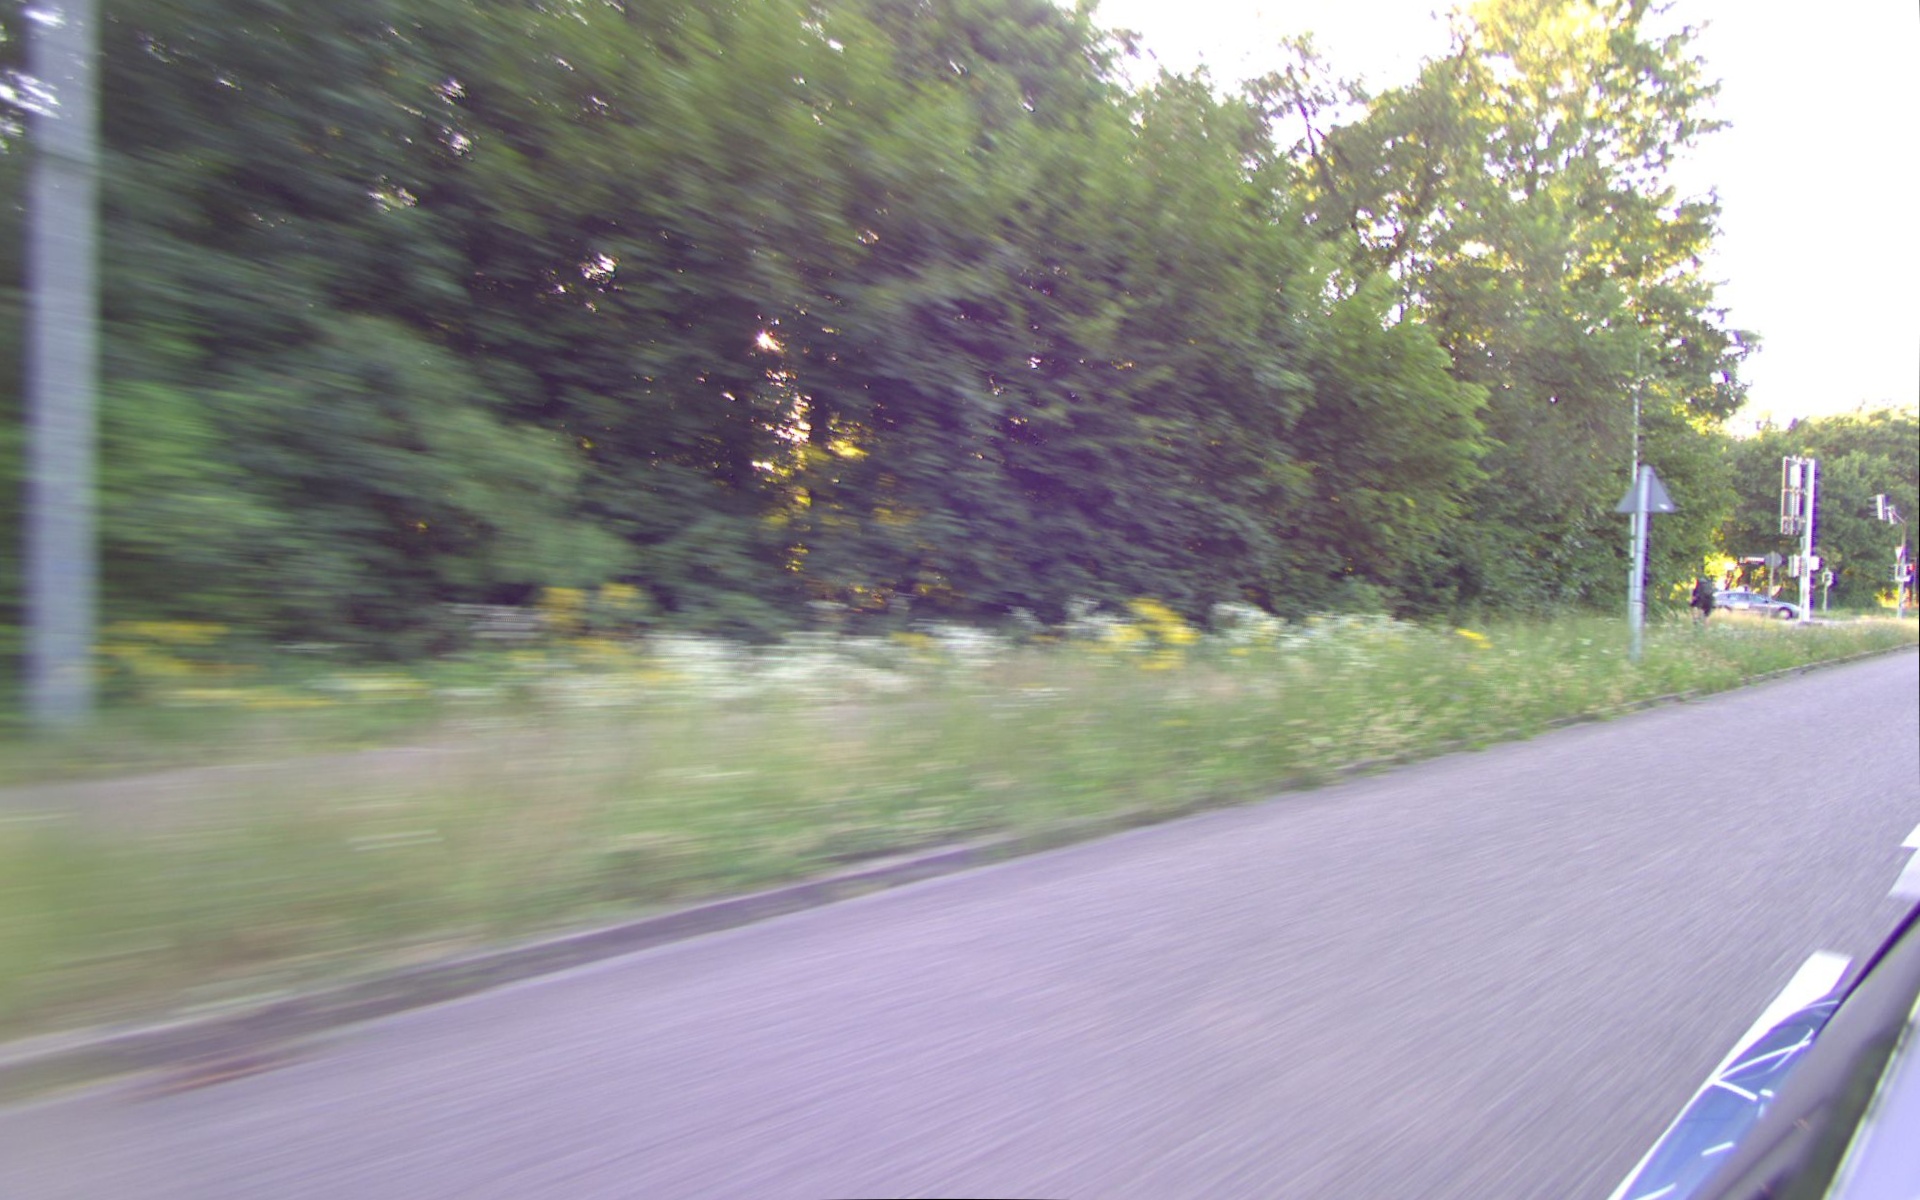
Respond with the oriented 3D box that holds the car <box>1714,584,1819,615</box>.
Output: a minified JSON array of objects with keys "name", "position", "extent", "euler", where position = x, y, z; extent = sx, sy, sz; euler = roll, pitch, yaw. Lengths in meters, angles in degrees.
[{"name":"car","position":[43.151,-0.061,54.290],"extent":[4.036,1.422,1.856],"euler":[2,3,27]}]

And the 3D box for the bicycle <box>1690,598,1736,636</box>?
[{"name":"bicycle","position":[21.043,0.457,28.270],"extent":[1.661,1.008,0.612],"euler":[-1,3,-39]}]

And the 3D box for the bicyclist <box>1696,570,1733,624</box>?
[{"name":"bicyclist","position":[21.096,-0.100,28.299],"extent":[0.766,1.473,0.605],"euler":[0,2,-39]}]
